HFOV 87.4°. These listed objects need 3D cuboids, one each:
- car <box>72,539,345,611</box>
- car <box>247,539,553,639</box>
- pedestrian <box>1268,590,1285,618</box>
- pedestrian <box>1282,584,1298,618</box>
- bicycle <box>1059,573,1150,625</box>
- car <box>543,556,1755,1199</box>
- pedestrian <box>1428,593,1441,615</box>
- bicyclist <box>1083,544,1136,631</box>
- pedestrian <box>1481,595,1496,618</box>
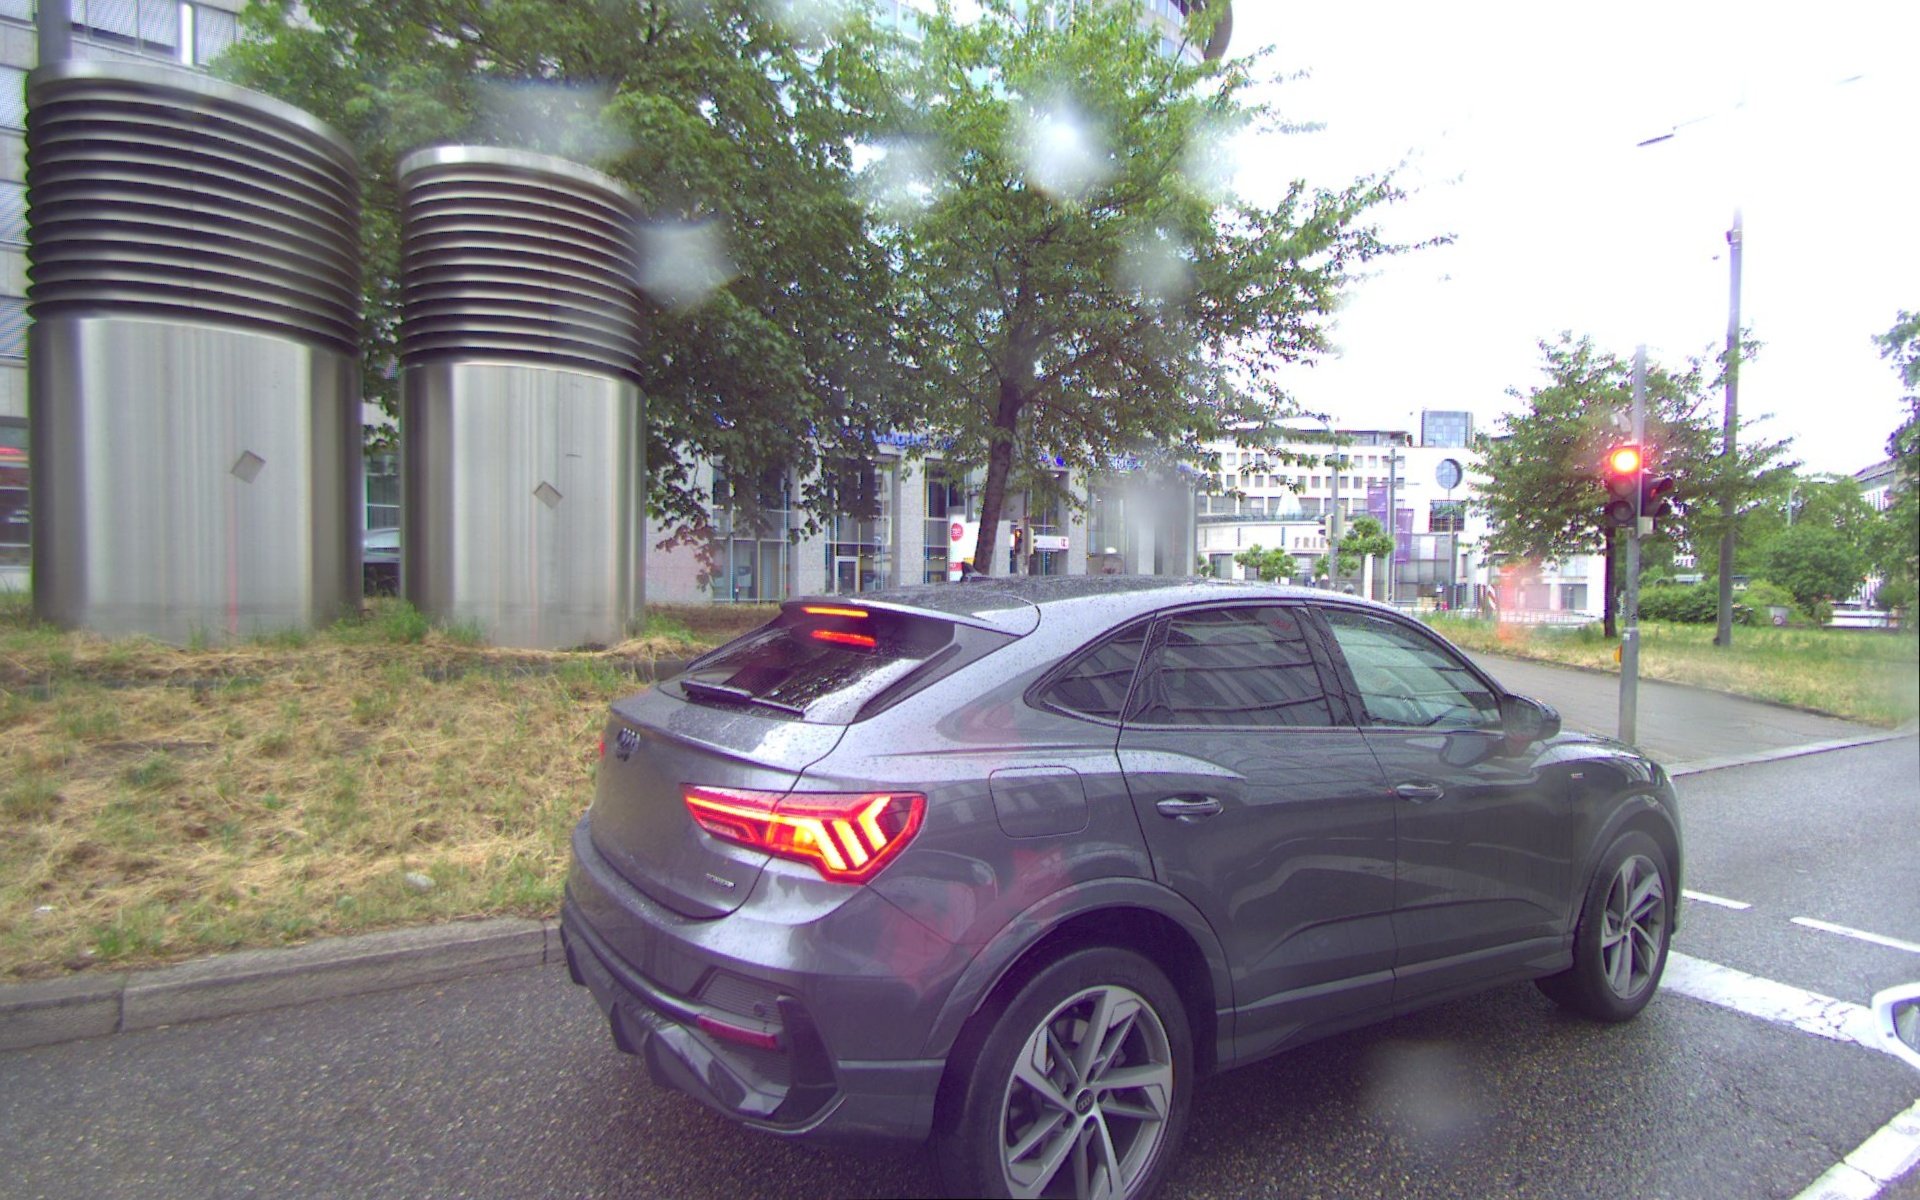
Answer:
[{"bbox_3d":[-15.696,-0.483,21.234,4.435,1.343,1.878,1,1,-37],"label":"car"},{"bbox_3d":[-9.526,-0.179,17.279,4.347,1.506,1.789,1,2,-40],"label":"car"},{"bbox_3d":[17.407,0.222,55.265,0.718,1.536,0.689,-1,-2,34],"label":"pedestrian"},{"bbox_3d":[17.949,0.055,54.649,0.612,1.786,0.723,-1,-2,38],"label":"pedestrian"},{"bbox_3d":[3.647,-0.041,25.421,2.093,1.161,0.762,4,4,28],"label":"bicycle"},{"bbox_3d":[0.895,0.728,3.647,4.206,1.638,1.837,0,2,-33],"label":"car"},{"bbox_3d":[43.459,0.357,92.020,0.780,2.041,0.736,4,3,43],"label":"pedestrian"},{"bbox_3d":[3.775,-0.331,25.332,1.065,2.111,0.762,4,4,27],"label":"bicyclist"},{"bbox_3d":[47.112,0.596,89.561,0.731,2.041,0.786,1,2,-28],"label":"pedestrian"}]
